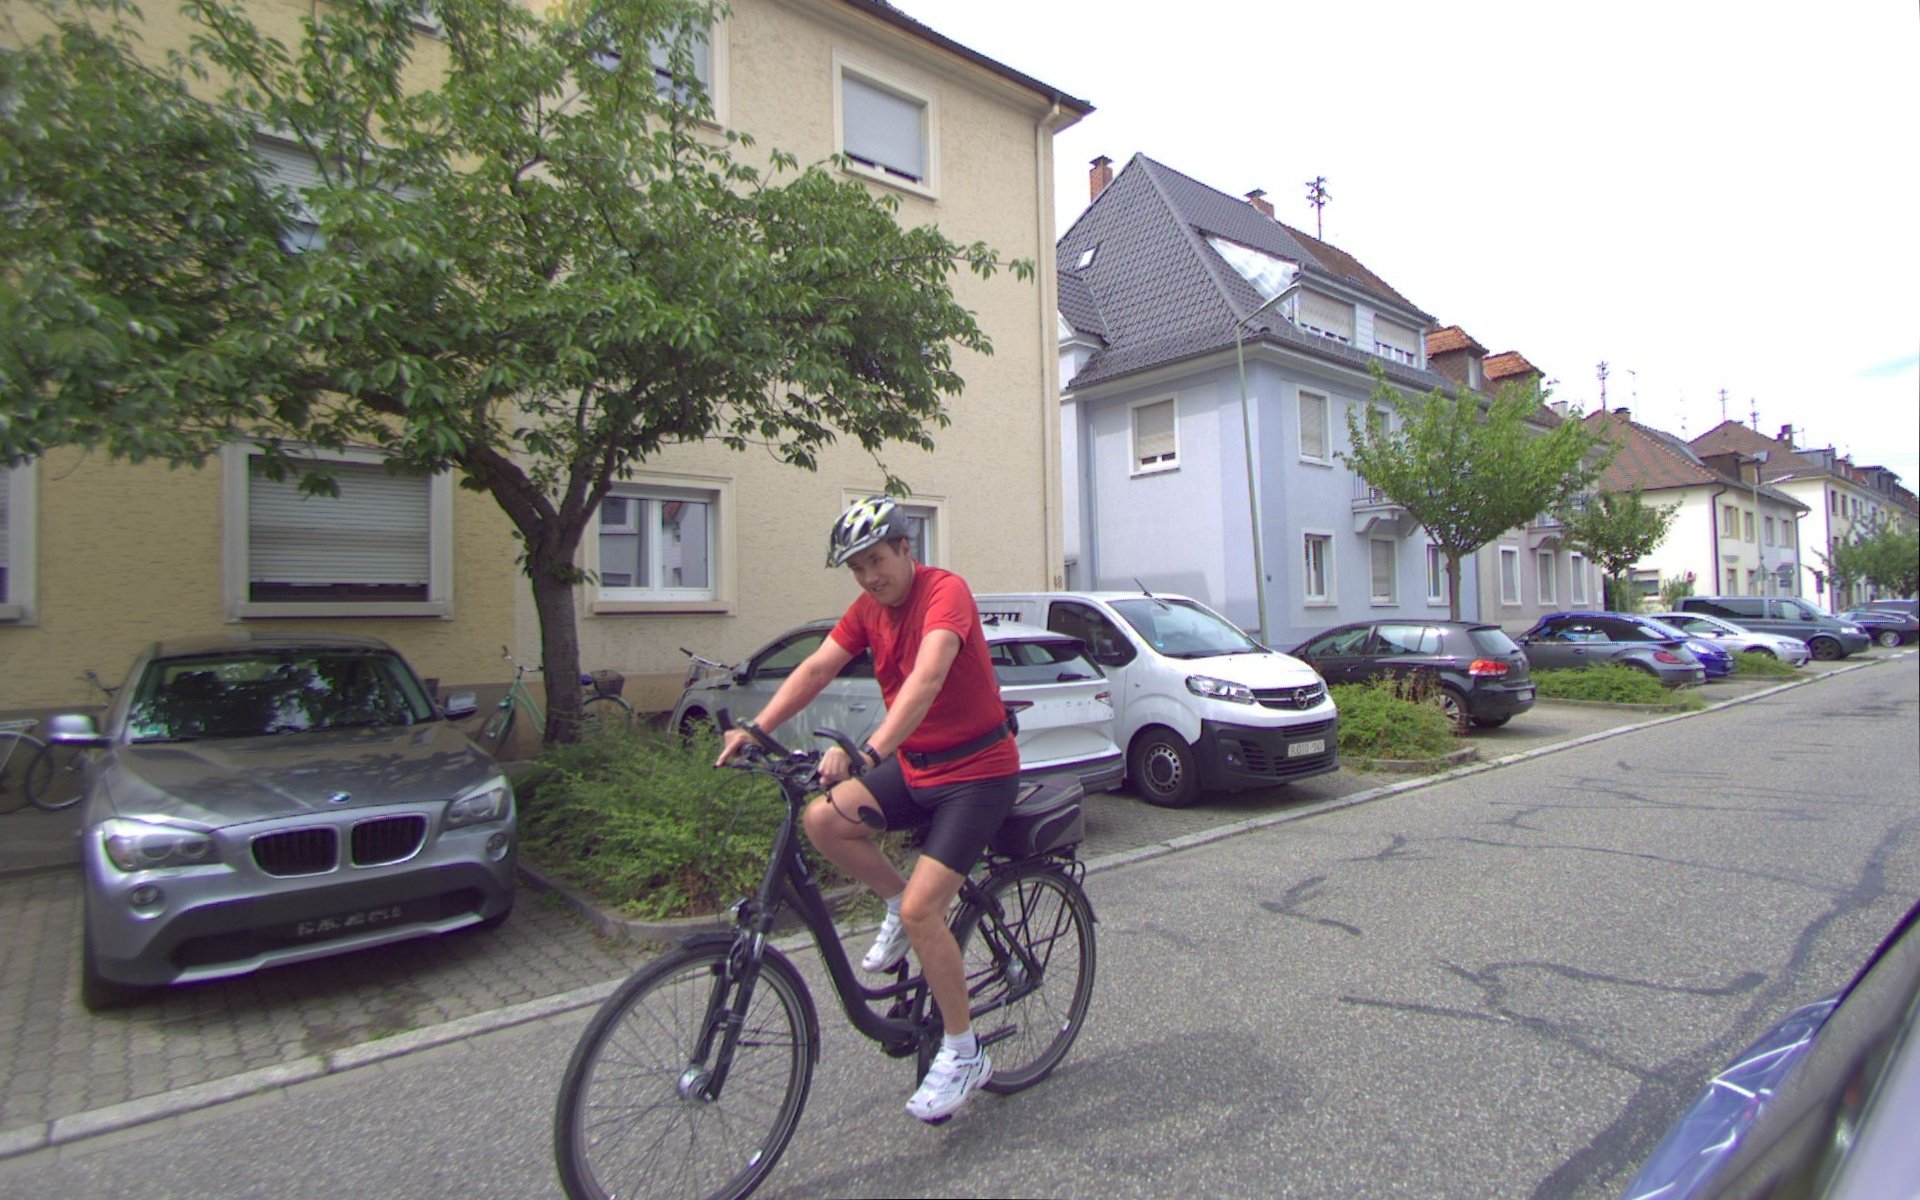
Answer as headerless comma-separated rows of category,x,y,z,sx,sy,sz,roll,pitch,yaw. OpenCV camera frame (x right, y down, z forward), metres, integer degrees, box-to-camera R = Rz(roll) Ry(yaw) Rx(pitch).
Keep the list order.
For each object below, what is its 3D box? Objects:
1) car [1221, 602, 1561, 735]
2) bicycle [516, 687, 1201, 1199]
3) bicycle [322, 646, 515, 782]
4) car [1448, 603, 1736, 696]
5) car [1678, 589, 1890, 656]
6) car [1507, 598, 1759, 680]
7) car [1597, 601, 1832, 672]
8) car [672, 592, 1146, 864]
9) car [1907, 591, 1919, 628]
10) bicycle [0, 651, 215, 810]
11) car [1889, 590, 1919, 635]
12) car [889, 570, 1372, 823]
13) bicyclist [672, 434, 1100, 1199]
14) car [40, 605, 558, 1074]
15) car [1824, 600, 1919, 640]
car,5.928,0.832,14.313,1.681,1.556,4.115,-1,1,-41
bicycle,-0.182,0.949,2.945,1.903,1.243,0.692,-1,-2,-41
bicycle,-5.278,1.068,9.934,1.608,1.154,0.479,-1,0,-43
car,11.955,0.851,19.397,1.681,1.519,4.399,-1,1,-41
car,24.669,0.595,30.450,1.838,1.850,4.716,-1,1,-40
car,15.150,0.799,23.021,1.835,1.632,4.407,-1,1,-35
car,18.624,0.823,25.158,1.838,1.556,4.400,-1,1,-40
car,-0.681,0.793,8.639,1.818,1.705,4.315,-1,1,-40
car,45.922,0.431,47.606,3.383,1.698,1.644,0,-2,-41
bicycle,-7.244,1.050,8.453,1.608,1.154,0.479,-1,0,-43
car,41.077,0.497,43.231,3.383,1.851,1.644,0,-3,-41
car,1.421,0.717,10.170,1.818,1.934,4.747,-1,1,-40
bicyclist,-0.210,0.512,2.943,0.969,1.793,0.693,0,-3,-41
car,-3.993,0.870,5.881,1.818,1.618,4.315,-1,1,-40
car,36.194,0.783,39.583,1.619,1.466,3.434,0,-3,-43
